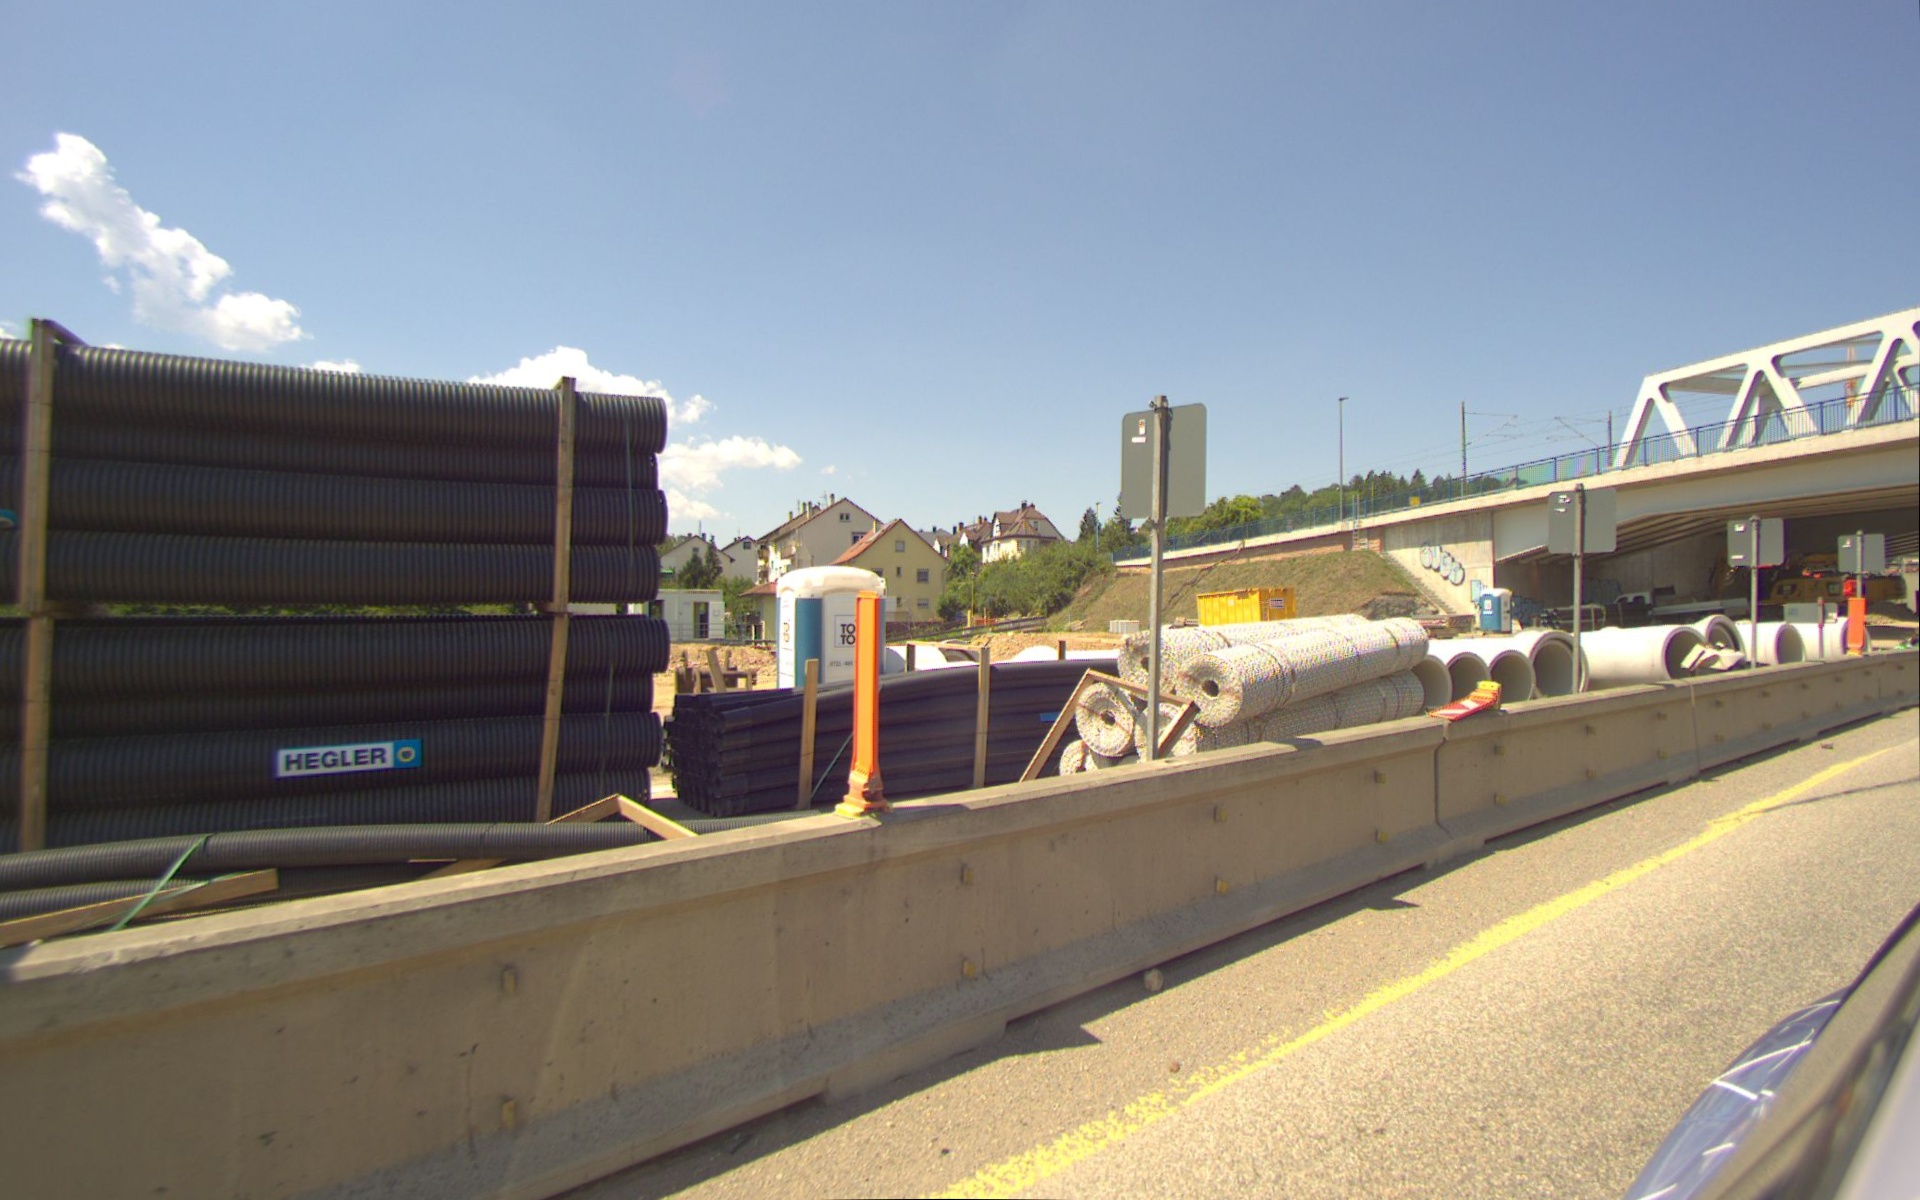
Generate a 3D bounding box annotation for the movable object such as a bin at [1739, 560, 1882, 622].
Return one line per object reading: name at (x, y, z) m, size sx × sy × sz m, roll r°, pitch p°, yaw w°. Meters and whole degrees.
movable object such as a bin at (45.780, -0.409, 54.638) m, size 2.445 × 3.095 × 5.265 m, roll -3°, pitch 0°, yaw -23°

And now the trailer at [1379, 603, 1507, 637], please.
trailer at (20.714, 0.837, 43.626) m, size 2.014 × 1.234 × 4.736 m, roll -3°, pitch 2°, yaw -27°

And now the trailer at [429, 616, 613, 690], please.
trailer at (-10.230, 1.172, 23.632) m, size 3.750 × 1.505 × 1.630 m, roll -1°, pitch -1°, yaw -31°

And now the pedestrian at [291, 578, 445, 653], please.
pedestrian at (-18.247, 0.434, 31.402) m, size 3.920 × 2.038 × 2.002 m, roll -3°, pitch 1°, yaw -28°

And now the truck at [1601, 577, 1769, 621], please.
truck at (37.143, -0.011, 52.149) m, size 2.610 × 2.099 × 6.553 m, roll -1°, pitch 0°, yaw -23°

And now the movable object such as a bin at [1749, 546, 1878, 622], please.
movable object such as a bin at (43.032, -0.765, 51.138) m, size 2.842 × 3.587 × 3.901 m, roll -3°, pitch 0°, yaw -16°

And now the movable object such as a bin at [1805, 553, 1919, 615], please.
movable object such as a bin at (52.041, -0.883, 58.005) m, size 2.929 × 3.328 × 4.576 m, roll -3°, pitch 0°, yaw -23°

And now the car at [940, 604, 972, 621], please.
car at (-0.404, 1.218, 98.198) m, size 1.546 × 1.526 × 4.175 m, roll -3°, pitch 2°, yaw -24°
